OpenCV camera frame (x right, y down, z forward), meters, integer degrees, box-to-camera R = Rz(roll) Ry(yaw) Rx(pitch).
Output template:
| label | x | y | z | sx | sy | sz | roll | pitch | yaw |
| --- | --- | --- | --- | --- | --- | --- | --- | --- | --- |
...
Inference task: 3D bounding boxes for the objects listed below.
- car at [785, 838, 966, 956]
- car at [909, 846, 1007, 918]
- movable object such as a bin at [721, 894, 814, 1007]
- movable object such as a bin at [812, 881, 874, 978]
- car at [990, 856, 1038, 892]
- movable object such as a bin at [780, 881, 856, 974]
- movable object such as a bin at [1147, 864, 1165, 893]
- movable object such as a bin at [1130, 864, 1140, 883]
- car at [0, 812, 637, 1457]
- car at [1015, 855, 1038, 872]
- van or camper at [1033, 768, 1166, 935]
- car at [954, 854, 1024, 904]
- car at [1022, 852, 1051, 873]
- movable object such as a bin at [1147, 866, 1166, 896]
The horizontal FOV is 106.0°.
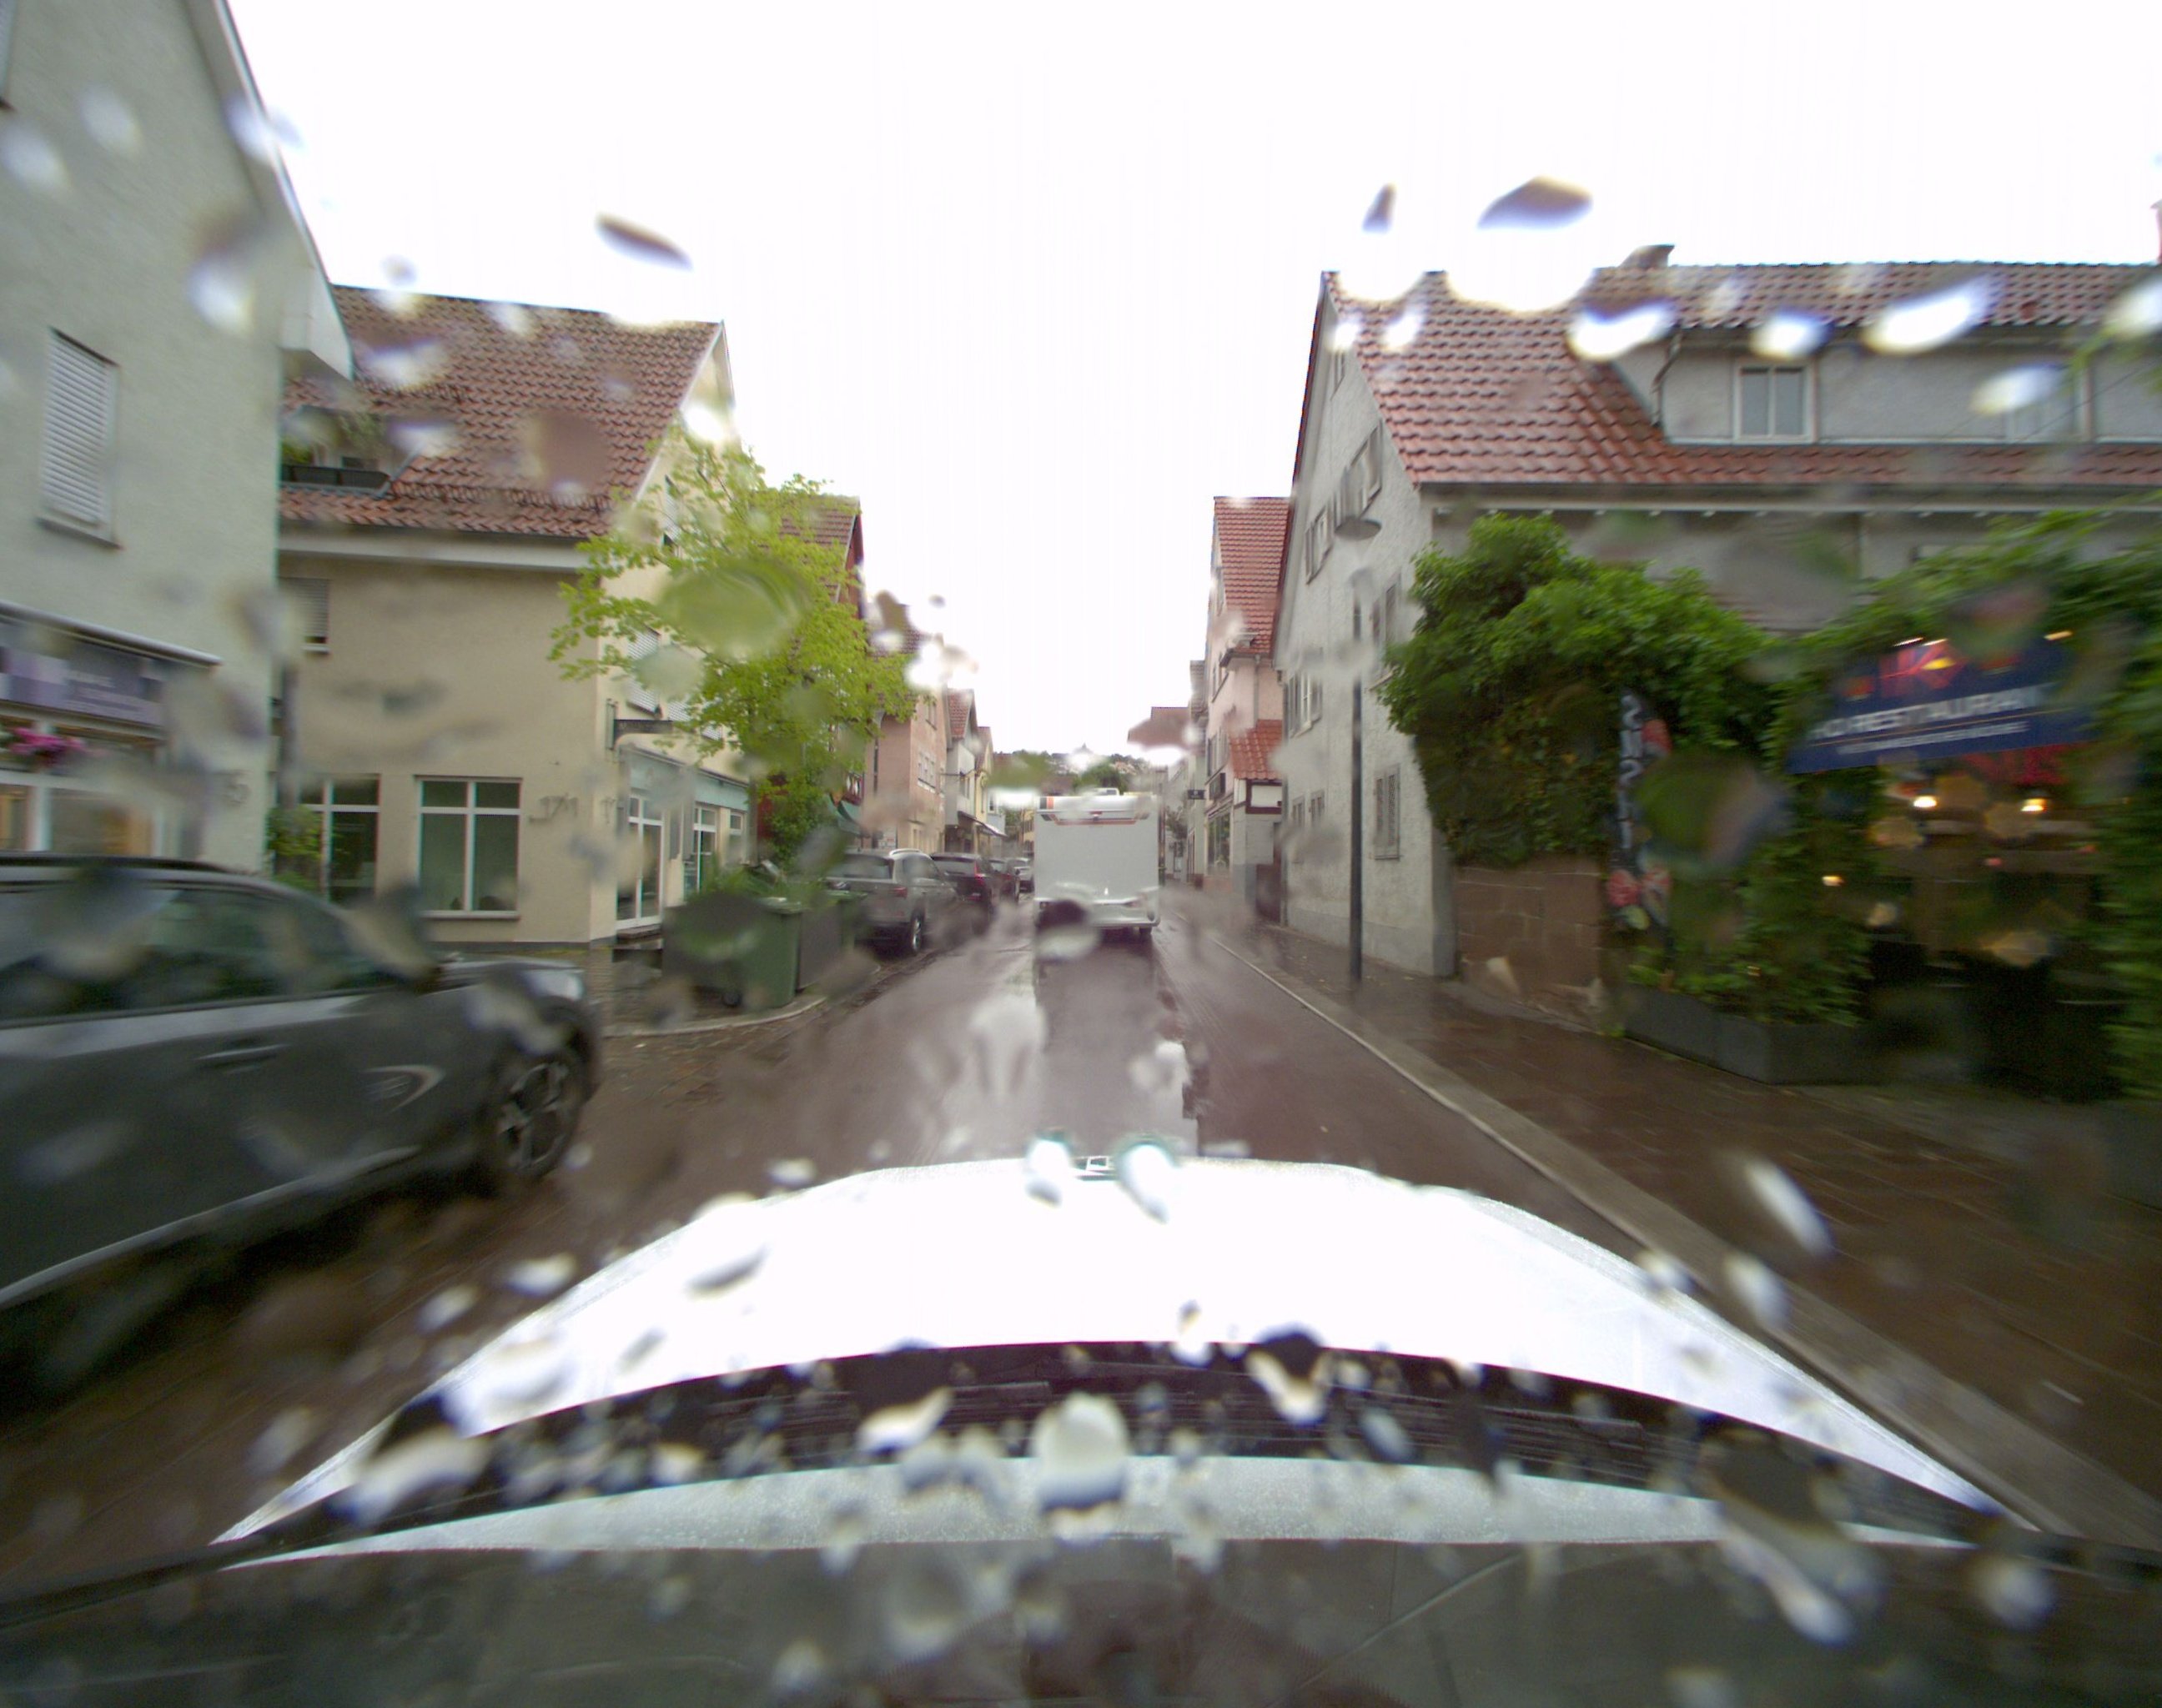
| label | x | y | z | sx | sy | sz | roll | pitch | yaw |
| --- | --- | --- | --- | --- | --- | --- | --- | --- | --- |
| car | -3.318 | 0.687 | 14.144 | 1.764 | 1.675 | 4.481 | 2 | -1 | 2 |
| car | -3.062 | 0.706 | 21.176 | 1.827 | 1.675 | 4.539 | 0 | -2 | 0 |
| movable object such as a bin | -3.177 | 0.955 | 8.302 | 0.618 | 1.079 | 0.725 | 0 | -2 | 2 |
| movable object such as a bin | -3.067 | 0.957 | 10.518 | 0.599 | 1.201 | 0.523 | 0 | -2 | 4 |
| car | -3.045 | 0.944 | 37.781 | 1.821 | 1.566 | 3.999 | 0 | -2 | 0 |
| movable object such as a bin | -3.552 | 0.972 | 11.038 | 0.741 | 1.201 | 0.749 | 0 | -2 | 2 |
| movable object such as a bin | 3.095 | 1.024 | 33.813 | 0.715 | 1.201 | 0.578 | 0 | -2 | 2 |
| movable object such as a bin | 3.623 | 1.326 | 54.942 | 0.656 | 1.239 | 0.621 | 0 | -2 | 0 |
| car | -3.358 | 0.686 | 2.556 | 1.586 | 1.546 | 3.978 | 0 | -2 | 2 |
| car | -6.759 | 1.233 | 100.945 | 1.999 | 2.014 | 3.976 | 1 | -2 | -17 |
| van or camper | 0.230 | 0.043 | 17.428 | 2.320 | 2.919 | 6.387 | 0 | -2 | -2 |
| car | -2.979 | 0.823 | 27.282 | 1.827 | 1.552 | 4.280 | 0 | -2 | 0 |
| car | -3.294 | 0.597 | 59.787 | 1.990 | 1.472 | 3.993 | 1 | -1 | -5 |
| movable object such as a bin | 3.072 | 1.083 | 33.208 | 0.715 | 1.201 | 0.573 | 0 | -2 | 2 |
